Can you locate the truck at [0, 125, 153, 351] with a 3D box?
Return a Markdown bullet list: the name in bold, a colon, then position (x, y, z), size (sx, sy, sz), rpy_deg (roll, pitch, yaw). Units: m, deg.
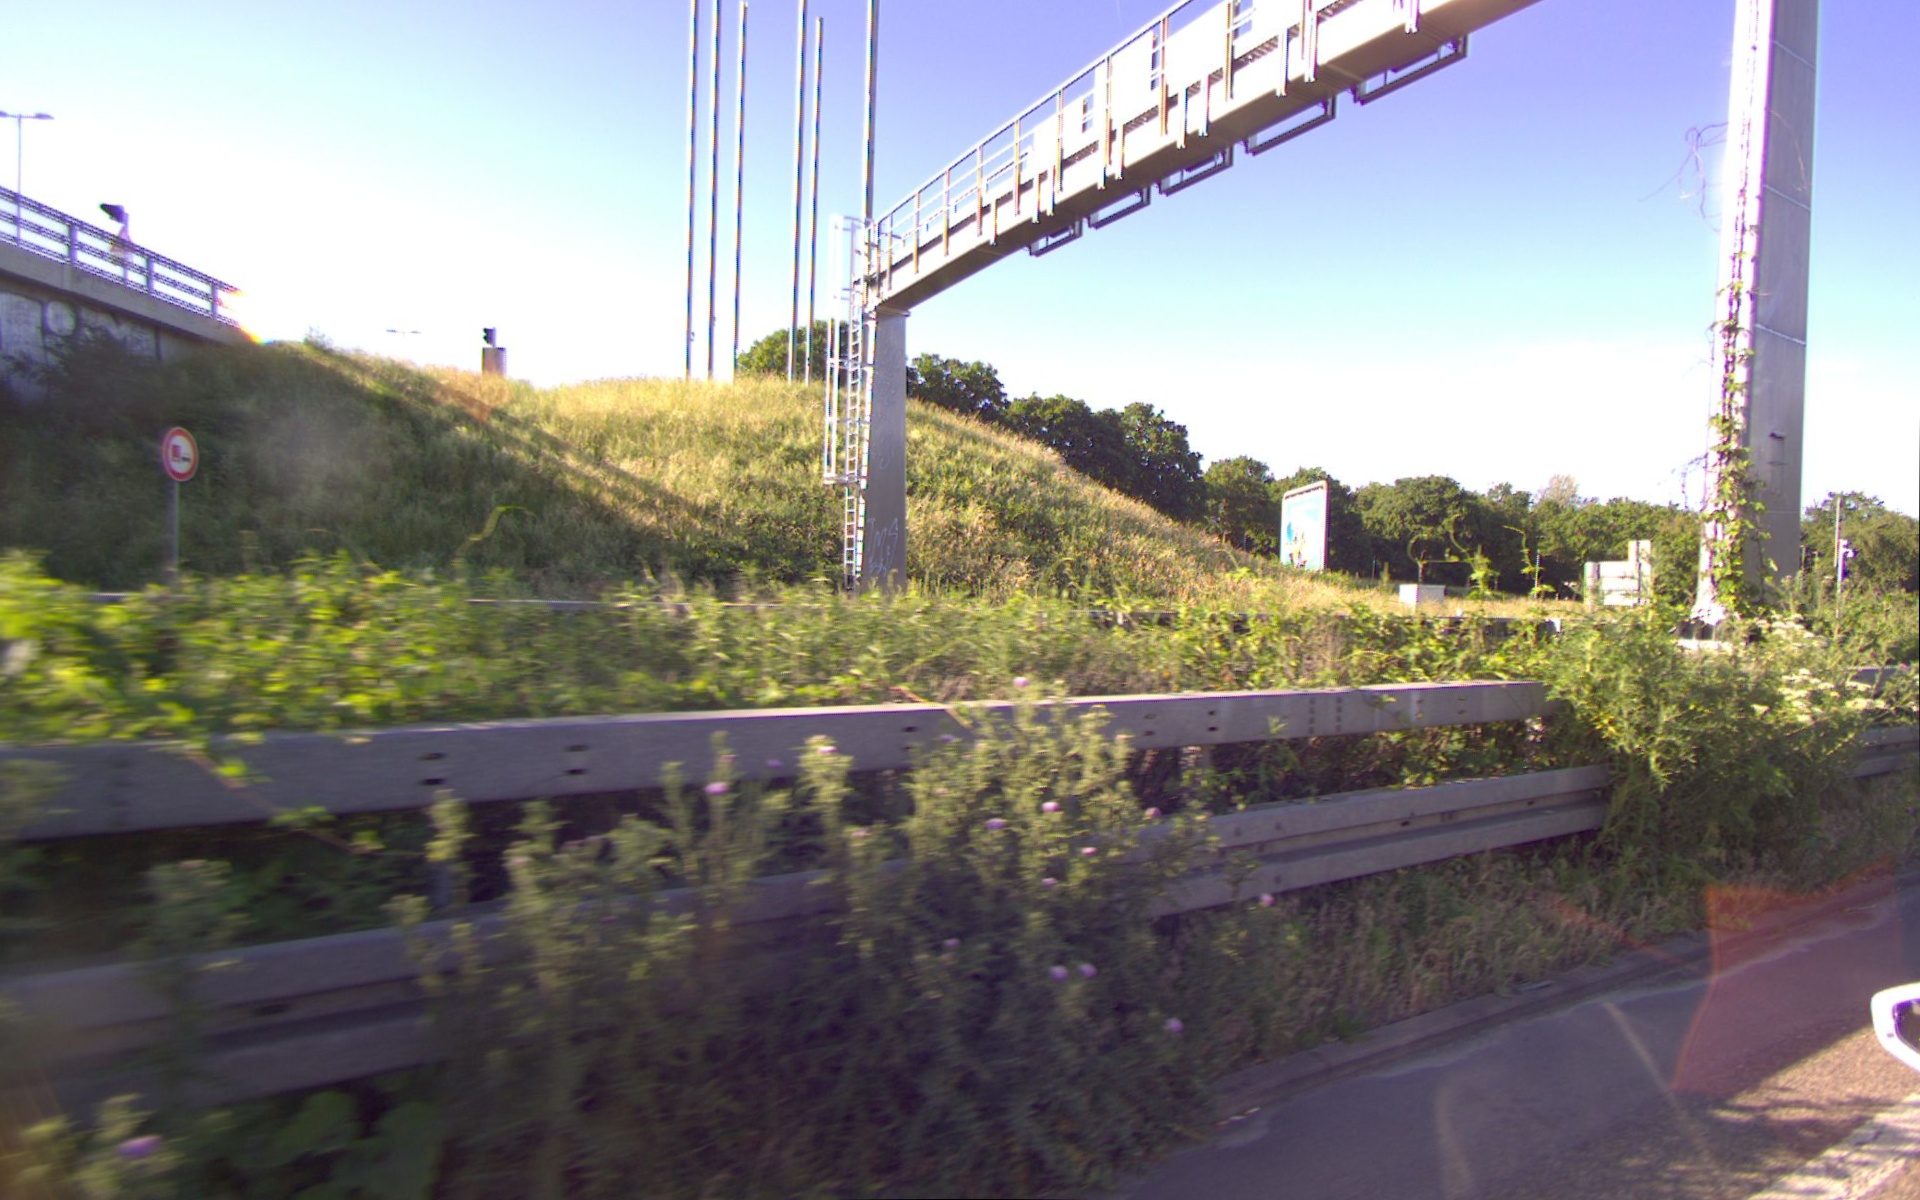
- **truck**: position (-23.508, -9.051, 24.960), size (1.961, 4.125, 6.269), rpy_deg (2, 0, -3)
